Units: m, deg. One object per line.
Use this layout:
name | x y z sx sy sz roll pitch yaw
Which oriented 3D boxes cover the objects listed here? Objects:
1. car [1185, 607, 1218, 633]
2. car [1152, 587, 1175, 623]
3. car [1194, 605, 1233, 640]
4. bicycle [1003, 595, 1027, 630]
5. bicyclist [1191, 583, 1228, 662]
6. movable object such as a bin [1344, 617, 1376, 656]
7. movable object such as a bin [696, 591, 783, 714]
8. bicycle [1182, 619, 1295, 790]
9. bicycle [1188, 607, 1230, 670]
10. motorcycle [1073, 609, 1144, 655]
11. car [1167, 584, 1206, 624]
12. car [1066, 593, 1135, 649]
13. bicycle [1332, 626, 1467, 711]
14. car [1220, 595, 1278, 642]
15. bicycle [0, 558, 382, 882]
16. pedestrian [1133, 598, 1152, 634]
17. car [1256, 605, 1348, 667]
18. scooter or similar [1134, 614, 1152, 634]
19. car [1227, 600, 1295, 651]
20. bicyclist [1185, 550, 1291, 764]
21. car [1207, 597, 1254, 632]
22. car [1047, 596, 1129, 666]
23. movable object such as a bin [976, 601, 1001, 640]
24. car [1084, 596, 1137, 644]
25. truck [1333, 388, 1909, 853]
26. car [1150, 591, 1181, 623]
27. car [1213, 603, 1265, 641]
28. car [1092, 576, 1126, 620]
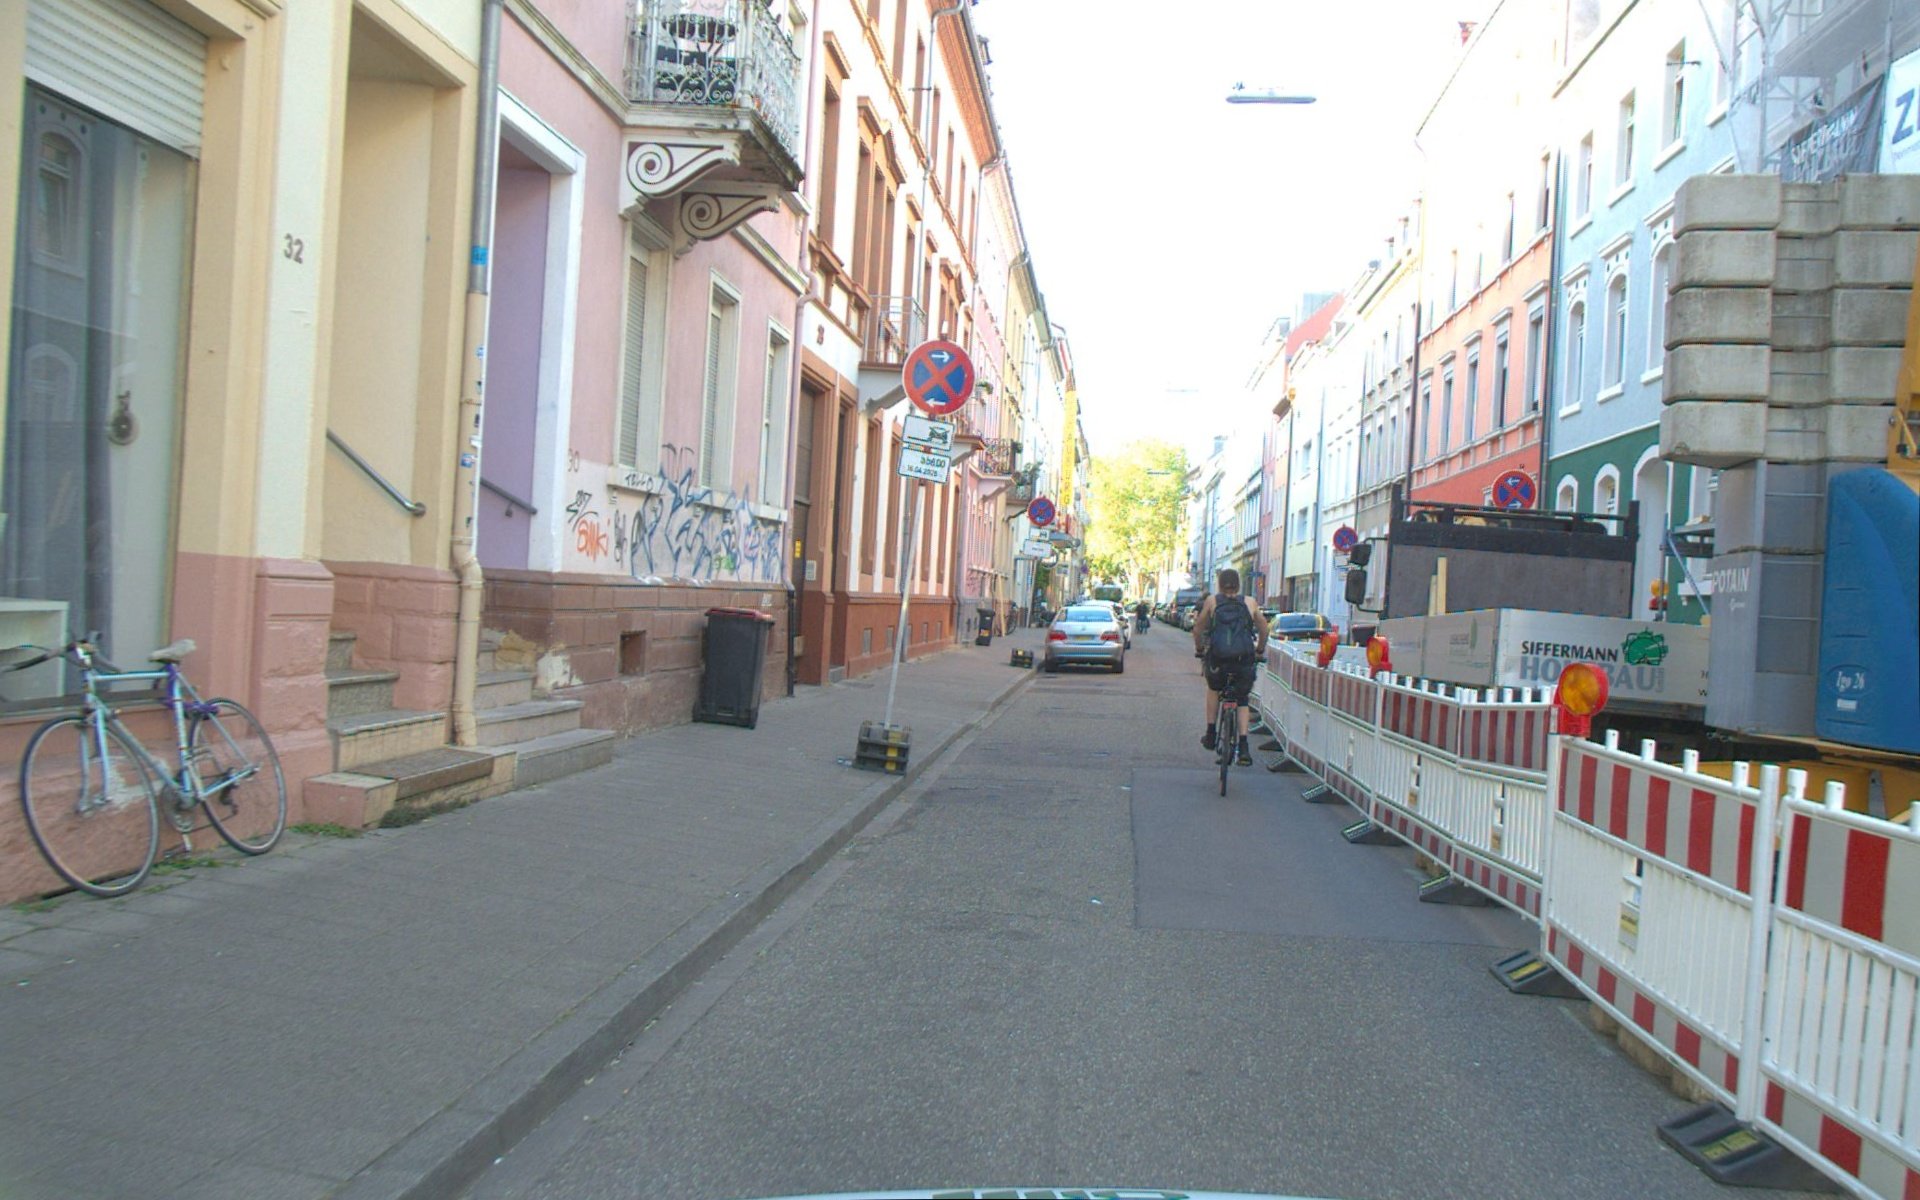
car | 13.996 1.166 96.108 1.674 1.473 4.002 1 -1 5
car | 22.705 0.564 184.300 2.259 3.834 6.773 1 -1 5
car | 12.153 1.083 79.437 1.586 1.577 4.002 1 -1 5
bicycle | 1.842 0.416 55.375 0.580 1.107 2.080 4 0 6
bicyclist | 5.344 0.472 35.469 0.687 1.633 0.813 2 1 5
movable object such as a bin | 11.290 1.023 46.663 0.721 1.094 0.677 1 -1 -1
movable object such as a bin | -2.003 0.473 15.072 0.593 1.053 0.596 4 -1 4
bicycle | 2.275 0.807 13.769 0.687 1.229 2.343 4 0 5
bicycle | 5.331 0.807 35.534 0.687 1.229 2.344 2 1 5
motorcycle | 4.562 0.991 50.732 2.109 1.383 0.538 0 0 -13
car | 15.241 0.309 111.728 2.259 2.582 6.773 1 -1 5
car | 4.042 0.566 47.102 1.674 1.407 4.359 3 1 7
bicycle | 6.689 1.033 25.225 1.812 1.129 0.643 5 -1 -2
car | 10.324 0.669 59.251 1.674 1.583 4.002 1 -1 5
bicycle | -2.995 0.401 6.459 0.609 1.040 1.819 4 0 6
pedestrian | 8.642 0.751 78.295 0.755 1.605 0.900 4 -1 3
car | 8.813 0.914 42.971 1.778 1.463 4.793 1 -1 5
scooter or similar | 8.601 1.110 77.810 0.755 0.888 0.771 5 0 3
car | 9.724 0.827 53.621 1.778 1.548 4.002 1 -1 5
bicyclist | 2.283 0.450 13.690 0.687 1.661 1.091 4 0 5
car | 11.437 0.624 70.050 1.674 1.407 4.002 1 -1 5
car | 2.848 0.660 36.448 1.674 1.407 4.508 1 -1 5
movable object such as a bin | 0.727 0.523 42.489 0.532 0.961 0.487 4 -1 6
car | 4.886 0.659 53.764 1.636 1.467 4.167 1 -1 5
truck | 5.184 0.163 14.625 2.606 2.862 7.397 5 0 6
car | 17.040 0.596 137.209 2.259 2.582 6.773 1 -1 5
car | 10.858 0.859 64.557 1.674 1.407 4.002 1 -1 5
car | 9.091 -0.120 101.046 1.869 2.540 4.167 2 0 3
